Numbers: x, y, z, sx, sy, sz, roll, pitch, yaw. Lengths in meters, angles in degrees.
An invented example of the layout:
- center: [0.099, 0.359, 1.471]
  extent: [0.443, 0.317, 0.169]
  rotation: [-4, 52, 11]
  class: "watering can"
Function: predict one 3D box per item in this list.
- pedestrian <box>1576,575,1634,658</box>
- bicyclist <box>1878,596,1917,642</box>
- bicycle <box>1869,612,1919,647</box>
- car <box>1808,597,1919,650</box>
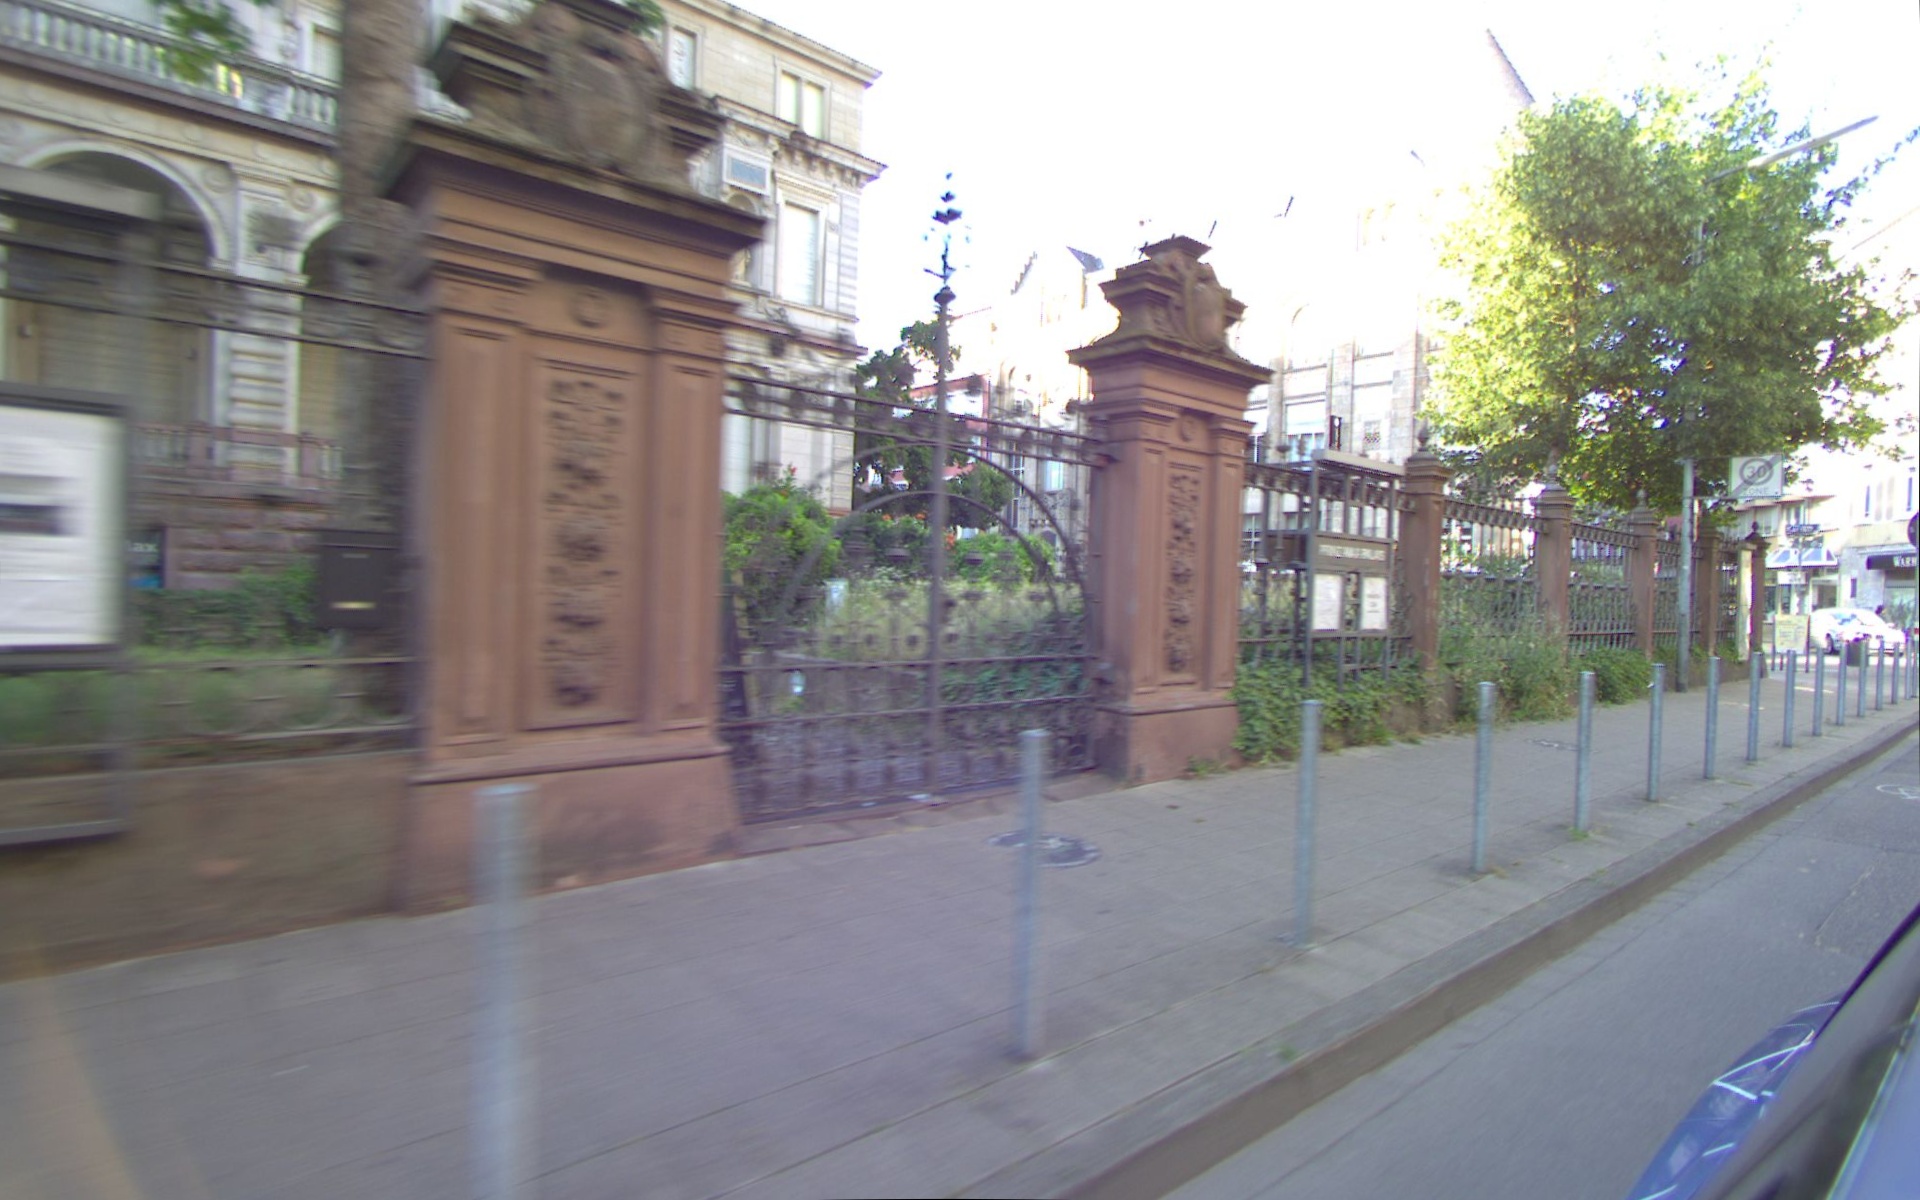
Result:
- center: [13.900, 0.345, 21.823]
  extent: [0.625, 1.744, 0.846]
  rotation: [1, 1, -6]
  class: "pedestrian"
- center: [33.315, 0.678, 35.978]
  extent: [0.650, 1.590, 0.860]
  rotation: [1, 1, 14]
  class: "bicyclist"
- center: [33.316, 1.044, 35.998]
  extent: [0.656, 1.152, 1.813]
  rotation: [1, 1, 15]
  class: "bicycle"
- center: [27.512, 0.671, 30.621]
  extent: [1.982, 1.440, 4.413]
  rotation: [2, 1, 29]
  class: "car"
